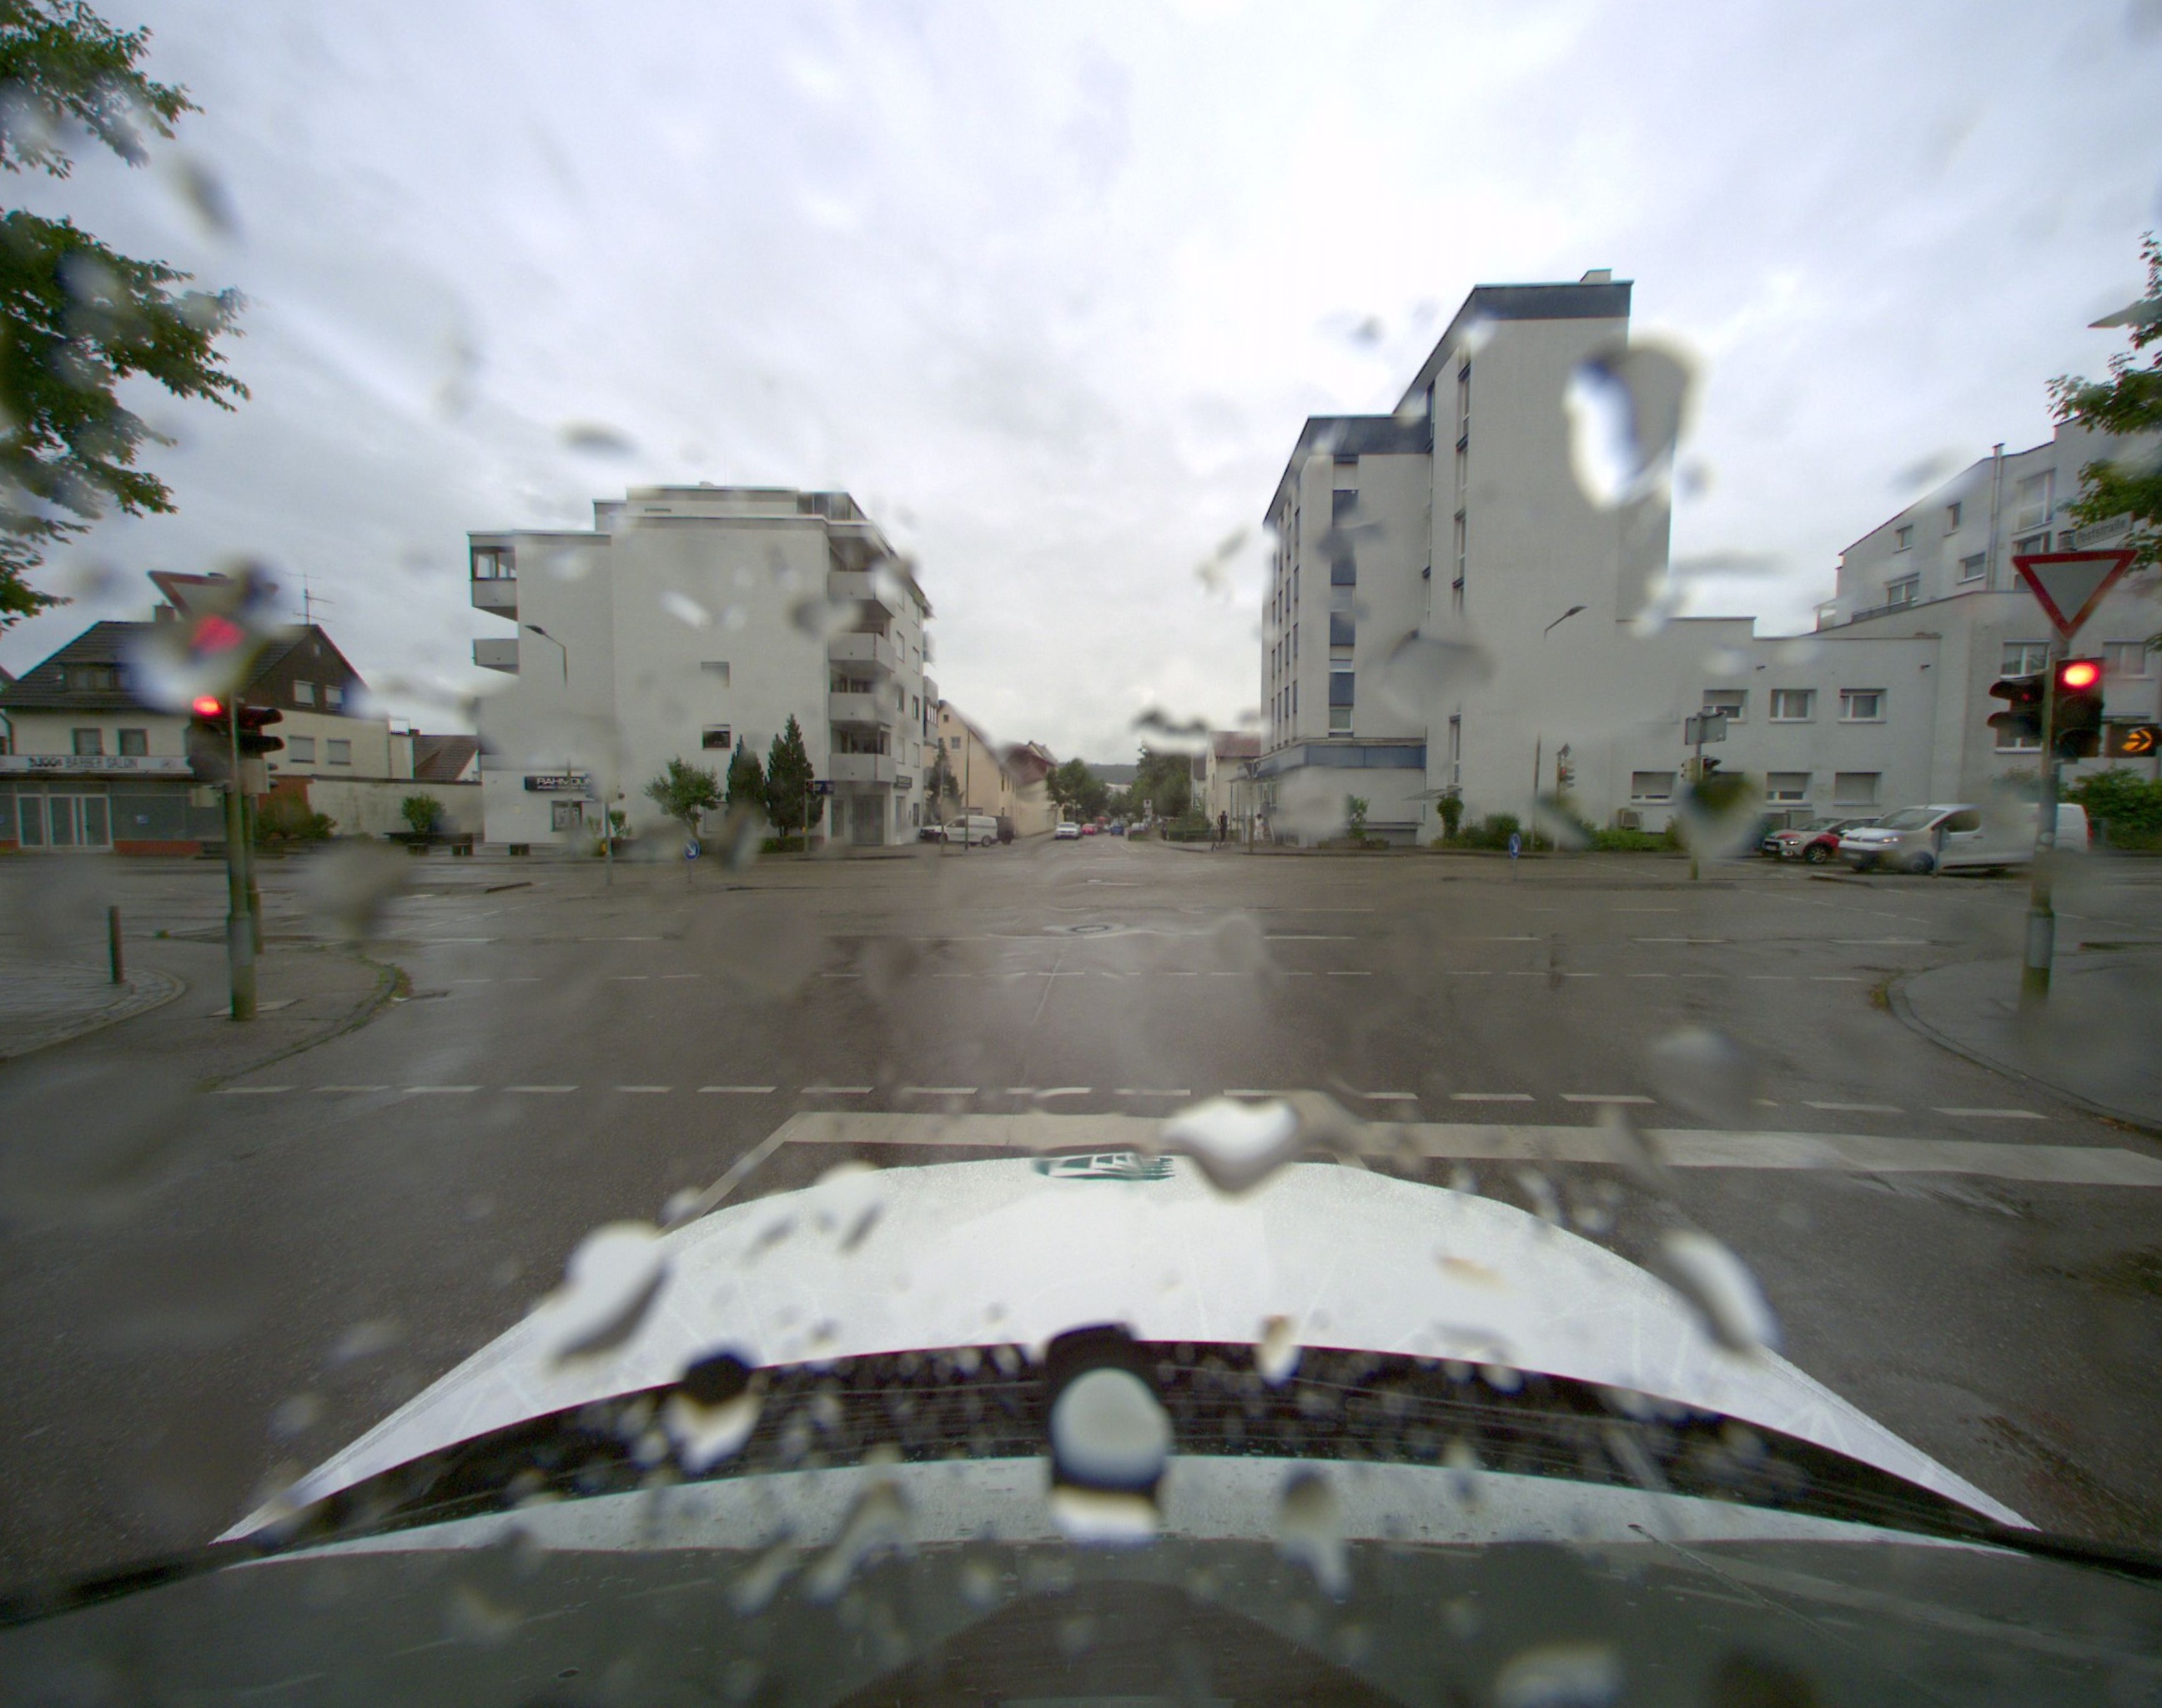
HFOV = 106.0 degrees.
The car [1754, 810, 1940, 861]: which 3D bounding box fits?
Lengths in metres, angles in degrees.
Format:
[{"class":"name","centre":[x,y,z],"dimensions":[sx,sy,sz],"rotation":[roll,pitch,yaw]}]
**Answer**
[{"class":"car","centre":[23.863,-0.577,25.513],"dimensions":[3.966,1.467,1.835],"rotation":[-1,2,6]}]

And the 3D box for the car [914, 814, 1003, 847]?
[{"class":"car","centre":[-7.330,-1.423,48.967],"dimensions":[4.866,1.835,1.978],"rotation":[-2,2,-36]}]

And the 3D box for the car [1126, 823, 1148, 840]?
[{"class":"car","centre":[5.659,-2.264,82.501],"dimensions":[2.137,1.589,4.131],"rotation":[-1,2,3]}]

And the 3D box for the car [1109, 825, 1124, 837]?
[{"class":"car","centre":[4.944,-3.204,114.255],"dimensions":[1.987,1.683,4.001],"rotation":[-1,2,0]}]

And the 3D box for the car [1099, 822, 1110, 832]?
[{"class":"car","centre":[4.069,-4.591,139.757],"dimensions":[1.894,1.558,4.195],"rotation":[-1,2,3]}]

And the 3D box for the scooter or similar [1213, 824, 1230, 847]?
[{"class":"scooter or similar","centre":[7.261,-0.965,42.138],"dimensions":[0.753,1.171,1.316],"rotation":[-1,1,4]}]

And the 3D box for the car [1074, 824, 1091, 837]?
[{"class":"car","centre":[0.214,-3.075,105.602],"dimensions":[1.894,1.558,4.195],"rotation":[-1,2,3]}]

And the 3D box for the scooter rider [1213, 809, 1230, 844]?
[{"class":"scooter rider","centre":[7.239,-1.421,42.033],"dimensions":[0.749,1.795,0.673],"rotation":[-1,1,3]}]

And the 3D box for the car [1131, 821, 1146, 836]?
[{"class":"car","centre":[7.375,-3.262,104.596],"dimensions":[1.894,1.745,4.195],"rotation":[-1,2,3]}]

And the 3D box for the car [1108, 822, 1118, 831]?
[{"class":"car","centre":[6.167,-5.253,155.710],"dimensions":[1.894,1.558,4.195],"rotation":[-1,2,3]}]

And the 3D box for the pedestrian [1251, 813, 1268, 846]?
[{"class":"pedestrian","centre":[8.895,-1.218,40.516],"dimensions":[0.646,1.647,0.525],"rotation":[2,1,-4]}]

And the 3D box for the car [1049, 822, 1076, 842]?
[{"class":"car","centre":[-1.520,-1.901,69.163],"dimensions":[1.985,1.625,4.195],"rotation":[-1,2,3]}]

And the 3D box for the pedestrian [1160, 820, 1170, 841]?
[{"class":"pedestrian","centre":[7.769,-2.168,75.299],"dimensions":[0.743,1.848,0.526],"rotation":[3,1,2]}]

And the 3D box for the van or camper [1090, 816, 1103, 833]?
[{"class":"van or camper","centre":[2.478,-4.619,127.822],"dimensions":[1.894,2.513,4.242],"rotation":[-1,2,3]}]

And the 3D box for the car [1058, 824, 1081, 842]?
[{"class":"car","centre":[-1.141,-2.074,80.567],"dimensions":[1.985,1.625,4.195],"rotation":[-1,2,3]}]

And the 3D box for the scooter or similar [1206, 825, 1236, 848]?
[{"class":"scooter or similar","centre":[6.791,-0.840,39.582],"dimensions":[1.265,1.081,0.876],"rotation":[-1,1,-3]}]

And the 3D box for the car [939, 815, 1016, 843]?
[{"class":"car","centre":[-7.054,-1.740,55.916],"dimensions":[4.866,1.835,1.978],"rotation":[-2,2,-36]}]

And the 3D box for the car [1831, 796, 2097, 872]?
[{"class":"car","centre":[23.572,-0.508,21.933],"dimensions":[4.787,1.916,1.831],"rotation":[0,0,8]}]
